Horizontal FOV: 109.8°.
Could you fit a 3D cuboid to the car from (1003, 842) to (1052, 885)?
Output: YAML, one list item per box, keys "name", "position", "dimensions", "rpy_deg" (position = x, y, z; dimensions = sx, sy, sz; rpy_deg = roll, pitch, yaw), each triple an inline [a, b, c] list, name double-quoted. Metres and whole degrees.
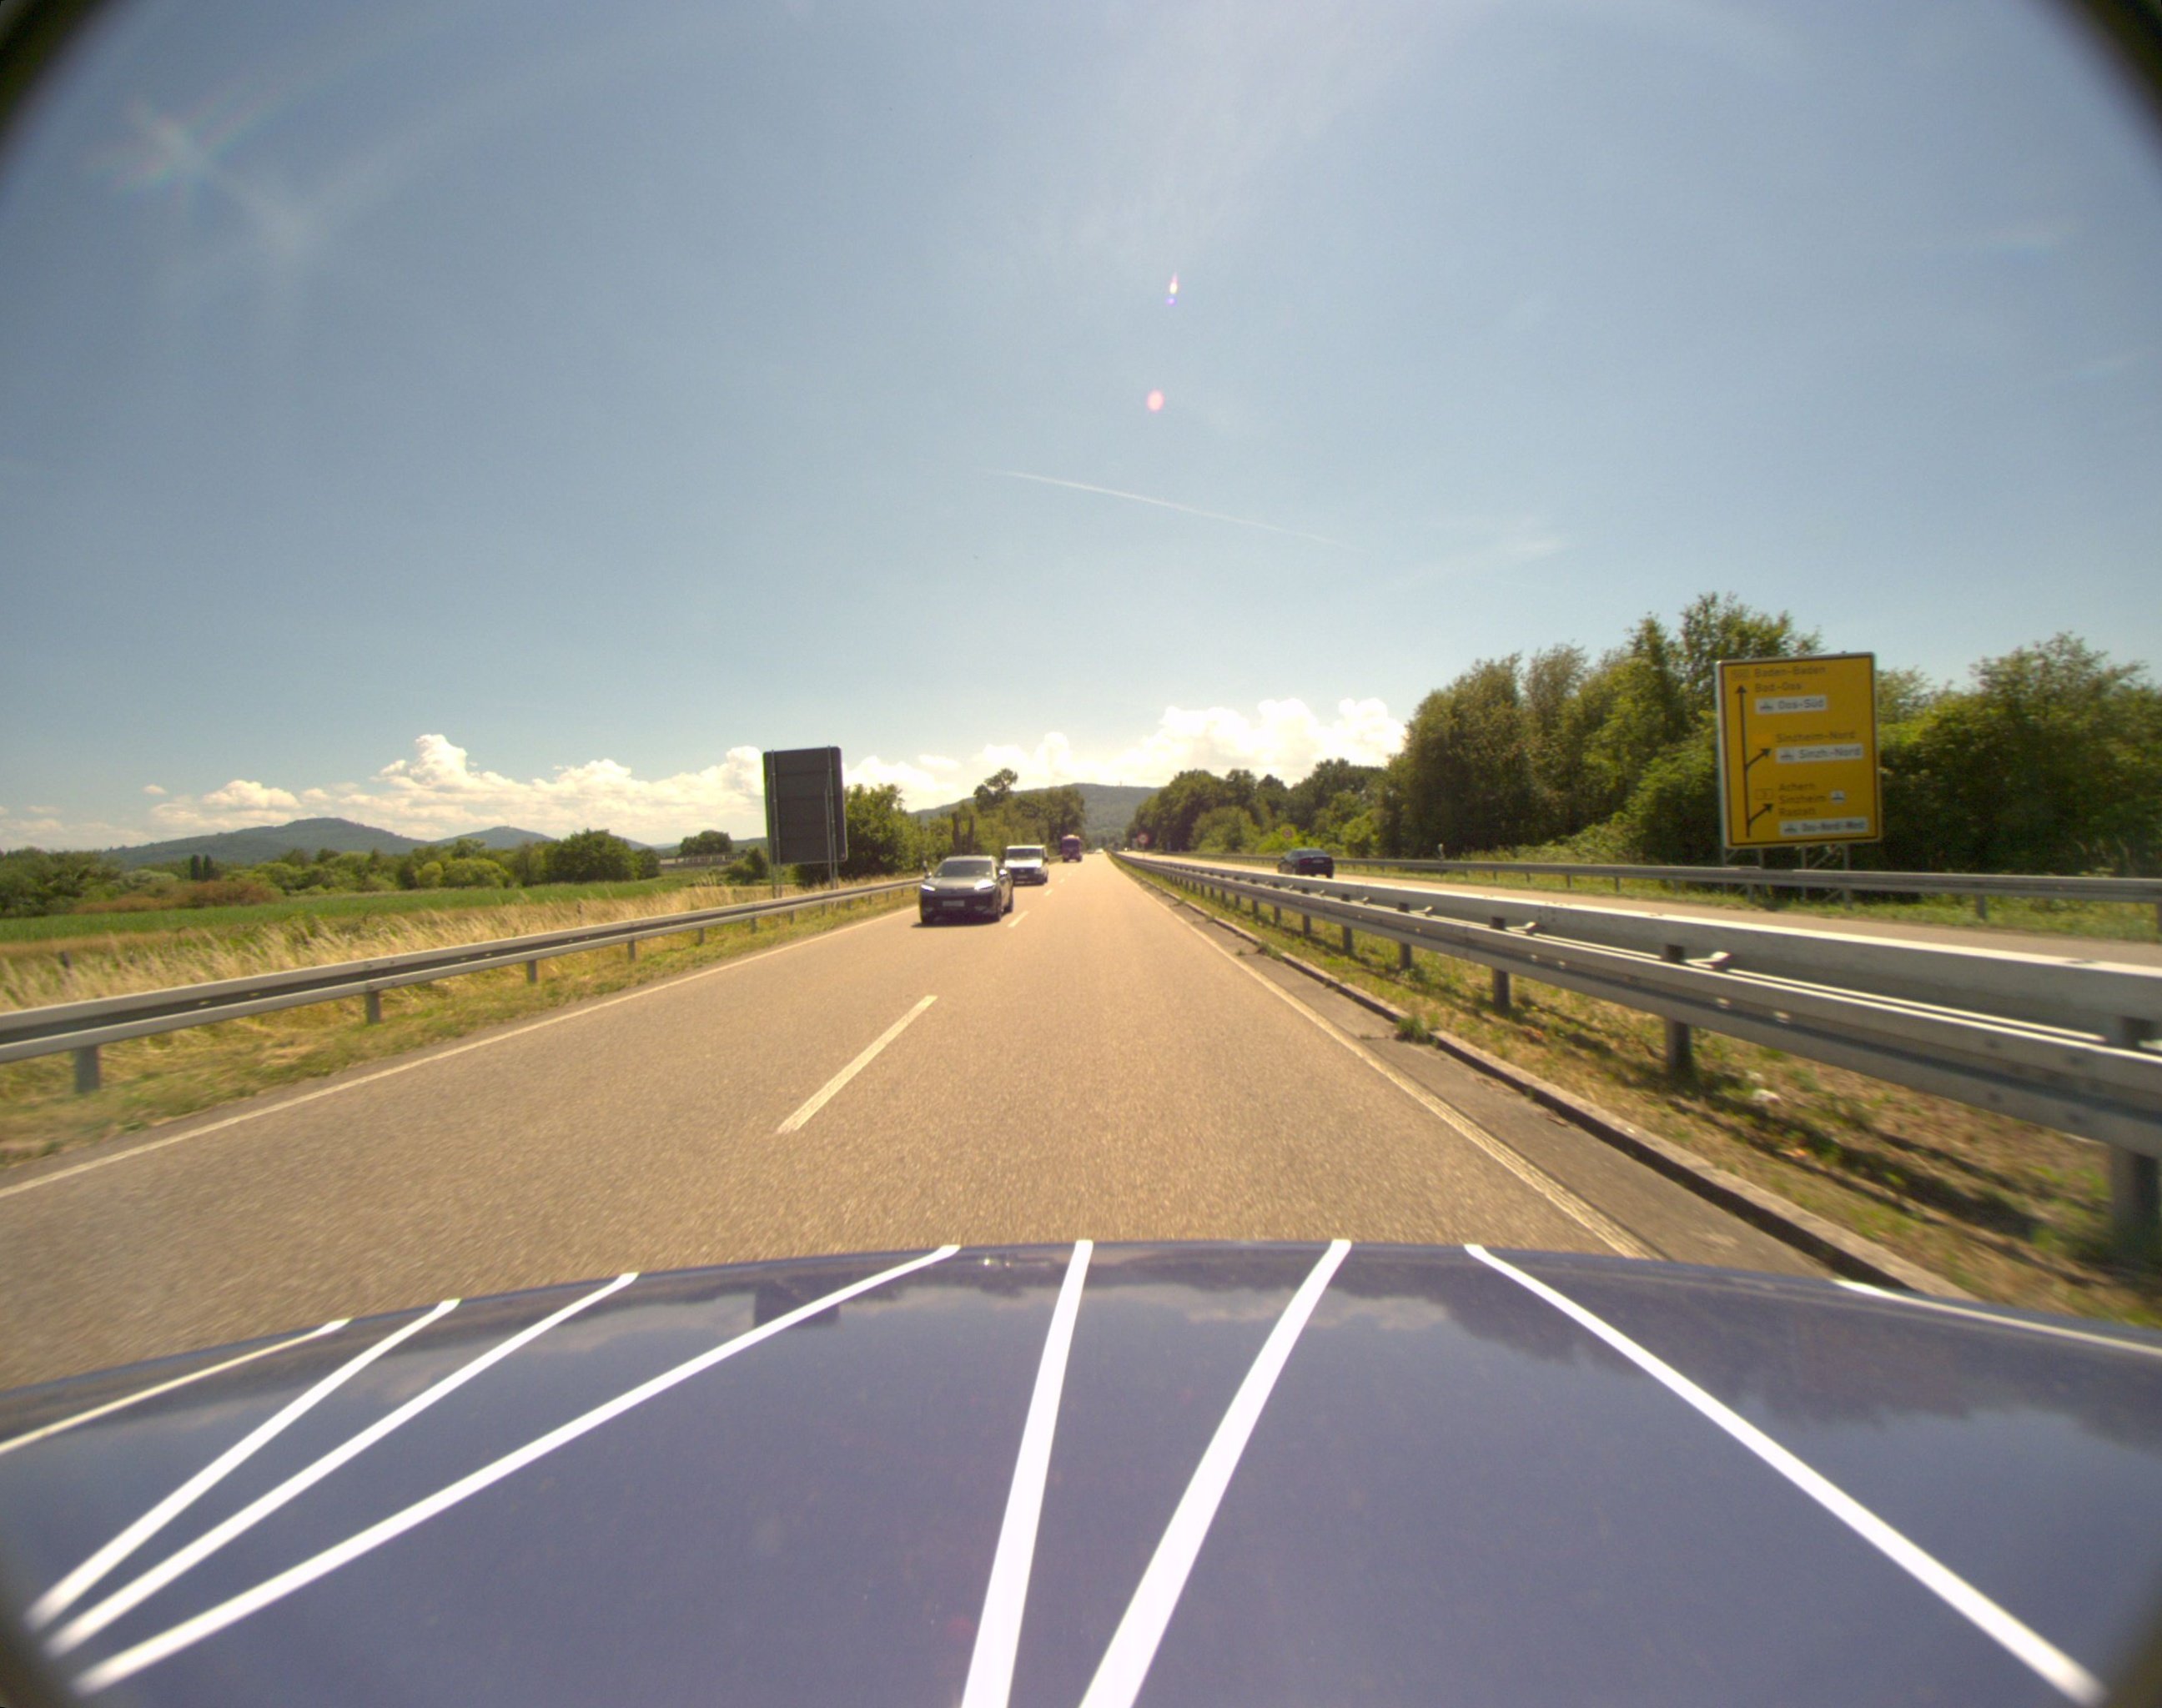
- name: "car"
  position: [-2.628, 0.470, 38.524]
  dimensions: [2.011, 1.977, 5.034]
  rpy_deg: [-2, 0, 0]

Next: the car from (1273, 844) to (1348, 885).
- name: "car"
  position: [10.574, 0.461, 35.442]
  dimensions: [1.998, 1.627, 4.874]
  rpy_deg: [-5, 0, 1]

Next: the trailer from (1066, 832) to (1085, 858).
- name: "trailer"
  position: [-0.759, -1.297, 113.412]
  dimensions: [2.604, 3.607, 8.615]
  rpy_deg: [-2, -1, 1]

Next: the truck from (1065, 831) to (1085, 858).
- name: "truck"
  position: [-0.854, -1.346, 108.449]
  dimensions: [2.604, 3.669, 5.940]
  rpy_deg: [-2, 0, 1]

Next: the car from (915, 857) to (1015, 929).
- name: "car"
  position: [-2.719, 0.862, 18.679]
  dimensions: [1.789, 1.544, 4.019]
  rpy_deg: [-1, 0, 1]
